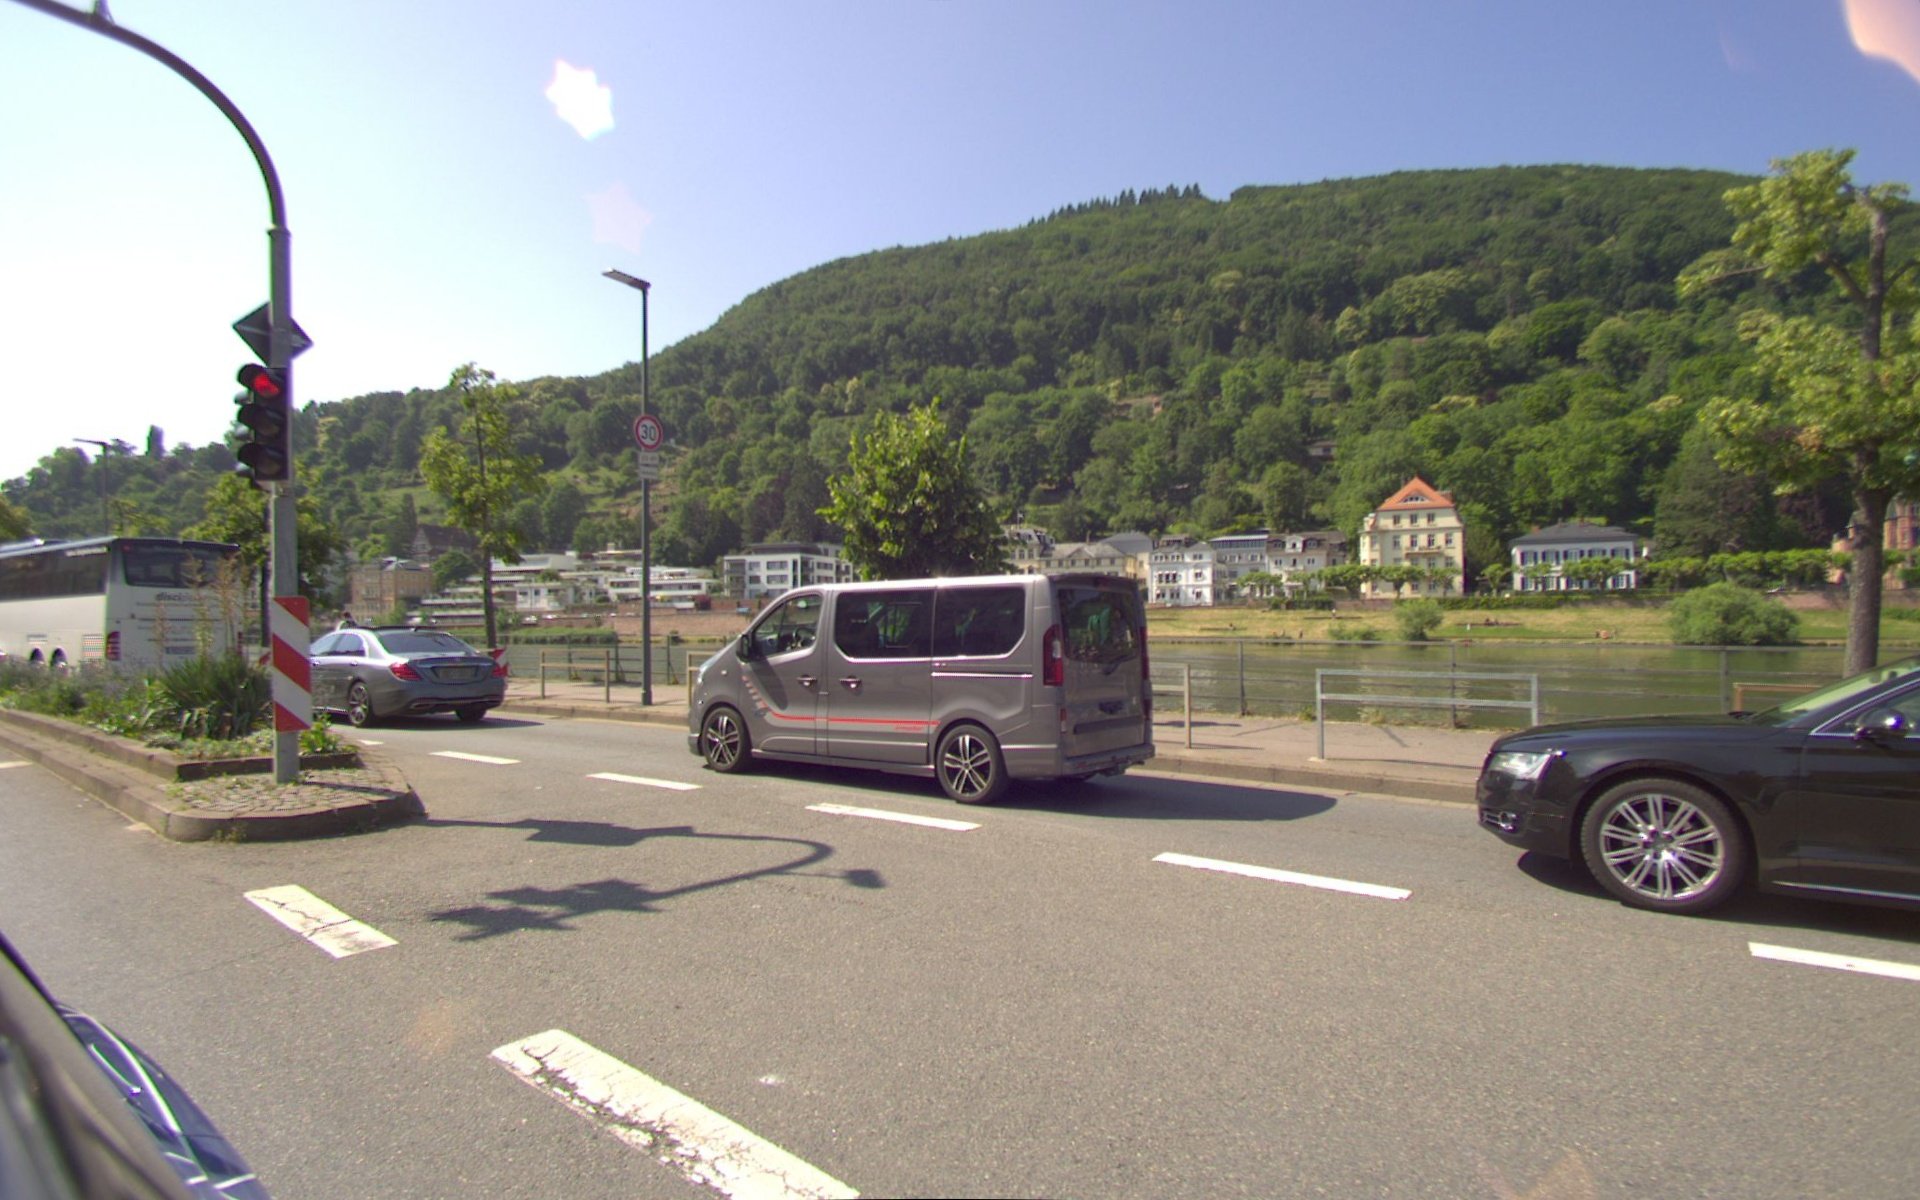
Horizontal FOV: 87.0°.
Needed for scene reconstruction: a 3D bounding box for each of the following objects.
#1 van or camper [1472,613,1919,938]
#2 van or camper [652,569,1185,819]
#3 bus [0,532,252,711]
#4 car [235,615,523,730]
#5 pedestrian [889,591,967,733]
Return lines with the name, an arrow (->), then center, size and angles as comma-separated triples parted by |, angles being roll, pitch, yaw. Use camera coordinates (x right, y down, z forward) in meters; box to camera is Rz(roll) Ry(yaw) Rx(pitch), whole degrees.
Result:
van or camper -> 5.524, 0.831, 5.043 | 5.056, 1.488, 1.975 | -1, -3, 37
van or camper -> -0.598, 0.782, 9.994 | 5.169, 1.887, 1.976 | -1, -2, 36
bus -> -22.018, 0.504, 24.879 | 12.937, 3.591, 2.611 | -1, -1, 32
car -> -9.520, 1.124, 16.435 | 5.143, 1.611, 1.977 | -1, -4, 34
pedestrian -> -0.424, 0.806, 13.519 | 0.693, 1.818, 0.756 | -2, 1, 30
